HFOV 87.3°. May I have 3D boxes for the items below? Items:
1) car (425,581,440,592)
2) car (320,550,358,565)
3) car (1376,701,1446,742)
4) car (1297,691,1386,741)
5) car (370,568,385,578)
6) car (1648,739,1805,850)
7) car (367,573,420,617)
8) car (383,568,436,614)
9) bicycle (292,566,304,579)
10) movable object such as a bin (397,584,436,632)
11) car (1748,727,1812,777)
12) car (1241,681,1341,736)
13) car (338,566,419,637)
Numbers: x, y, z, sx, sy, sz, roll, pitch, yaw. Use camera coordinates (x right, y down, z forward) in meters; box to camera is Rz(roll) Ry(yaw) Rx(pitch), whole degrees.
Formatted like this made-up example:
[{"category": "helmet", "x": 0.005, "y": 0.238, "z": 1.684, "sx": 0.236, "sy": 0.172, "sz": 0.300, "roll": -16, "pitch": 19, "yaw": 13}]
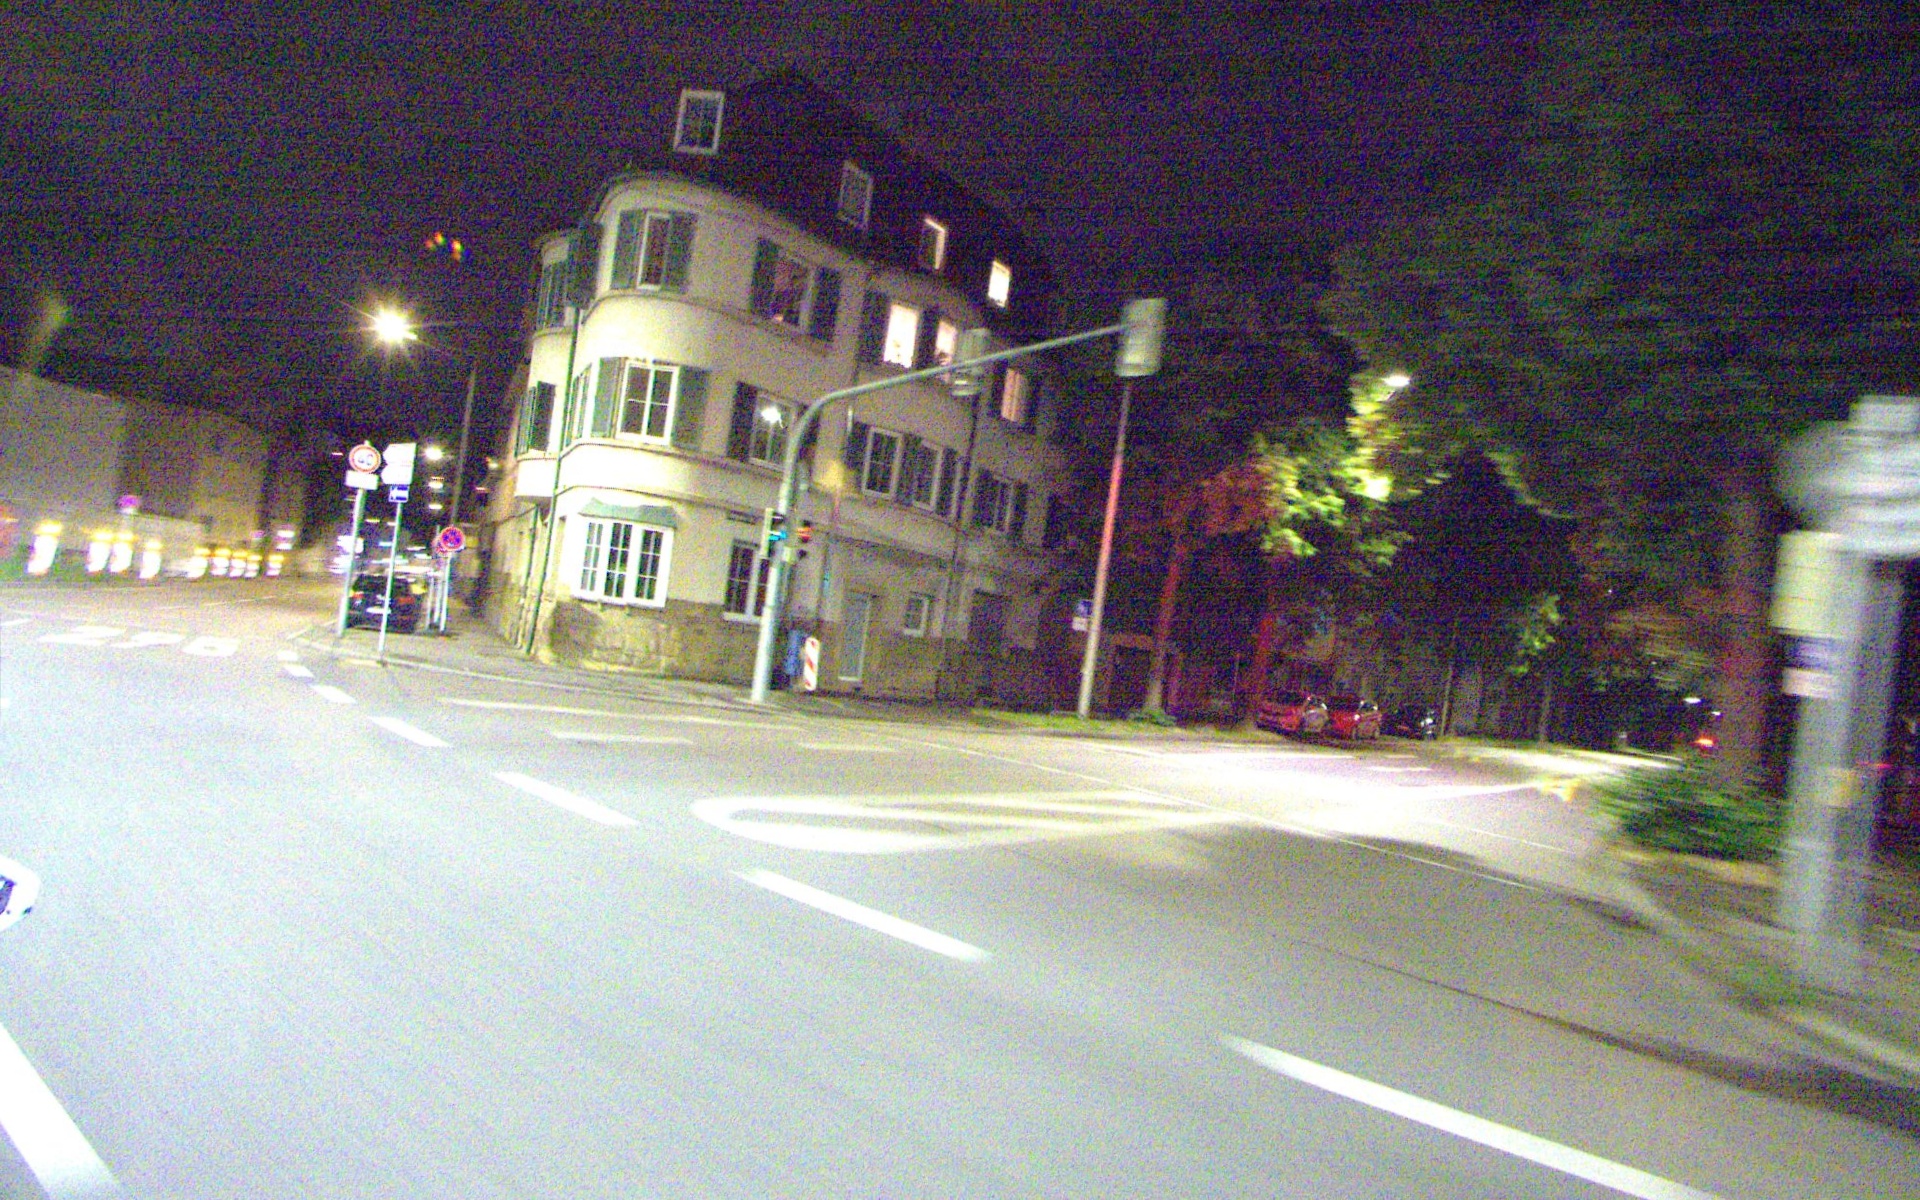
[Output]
[{"category": "car", "x": -92.077, "y": -2.334, "z": 175.708, "sx": 1.977, "sy": 1.533, "sz": 3.976, "roll": 10, "pitch": -3, "yaw": -26}, {"category": "car", "x": -91.391, "y": -6.250, "z": 148.131, "sx": 4.406, "sy": 1.465, "sz": 1.987, "roll": 10, "pitch": -3, "yaw": -29}, {"category": "car", "x": 21.515, "y": 5.810, "z": 47.900, "sx": 1.972, "sy": 1.521, "sz": 3.988, "roll": 5, "pitch": -4, "yaw": 40}, {"category": "car", "x": 14.960, "y": 4.540, "z": 39.301, "sx": 1.972, "sy": 1.521, "sz": 3.988, "roll": 5, "pitch": -4, "yaw": 40}, {"category": "car", "x": -108.493, "y": -4.986, "z": 187.357, "sx": 1.978, "sy": 1.518, "sz": 3.975, "roll": 9, "pitch": -3, "yaw": -28}, {"category": "car", "x": 14.814, "y": 3.672, "z": 19.362, "sx": 1.973, "sy": 1.606, "sz": 3.984, "roll": 5, "pitch": -4, "yaw": 43}, {"category": "car", "x": -23.854, "y": -0.204, "z": 42.480, "sx": 1.730, "sy": 1.584, "sz": 4.183, "roll": 7, "pitch": -2, "yaw": -28}, {"category": "car", "x": -27.641, "y": -0.459, "z": 50.578, "sx": 2.055, "sy": 1.950, "sz": 5.336, "roll": 7, "pitch": -2, "yaw": -28}, {"category": "bicycle", "x": -61.030, "y": -2.518, "z": 92.734, "sx": 0.614, "sy": 1.063, "sz": 1.711, "roll": 9, "pitch": -3, "yaw": -27}, {"category": "movable object such as a bin", "x": -17.788, "y": 0.241, "z": 32.900, "sx": 0.930, "sy": 1.449, "sz": 1.328, "roll": 7, "pitch": -2, "yaw": -31}, {"category": "car", "x": 36.268, "y": 6.764, "z": 44.524, "sx": 1.972, "sy": 1.680, "sz": 3.892, "roll": 7, "pitch": -5, "yaw": 40}, {"category": "car", "x": 11.893, "y": 3.919, "z": 35.983, "sx": 1.972, "sy": 1.521, "sz": 3.988, "roll": 5, "pitch": -4, "yaw": 40}, {"category": "car", "x": -16.540, "y": 0.031, "z": 28.753, "sx": 1.730, "sy": 1.702, "sz": 4.230, "roll": 7, "pitch": -2, "yaw": -28}]
